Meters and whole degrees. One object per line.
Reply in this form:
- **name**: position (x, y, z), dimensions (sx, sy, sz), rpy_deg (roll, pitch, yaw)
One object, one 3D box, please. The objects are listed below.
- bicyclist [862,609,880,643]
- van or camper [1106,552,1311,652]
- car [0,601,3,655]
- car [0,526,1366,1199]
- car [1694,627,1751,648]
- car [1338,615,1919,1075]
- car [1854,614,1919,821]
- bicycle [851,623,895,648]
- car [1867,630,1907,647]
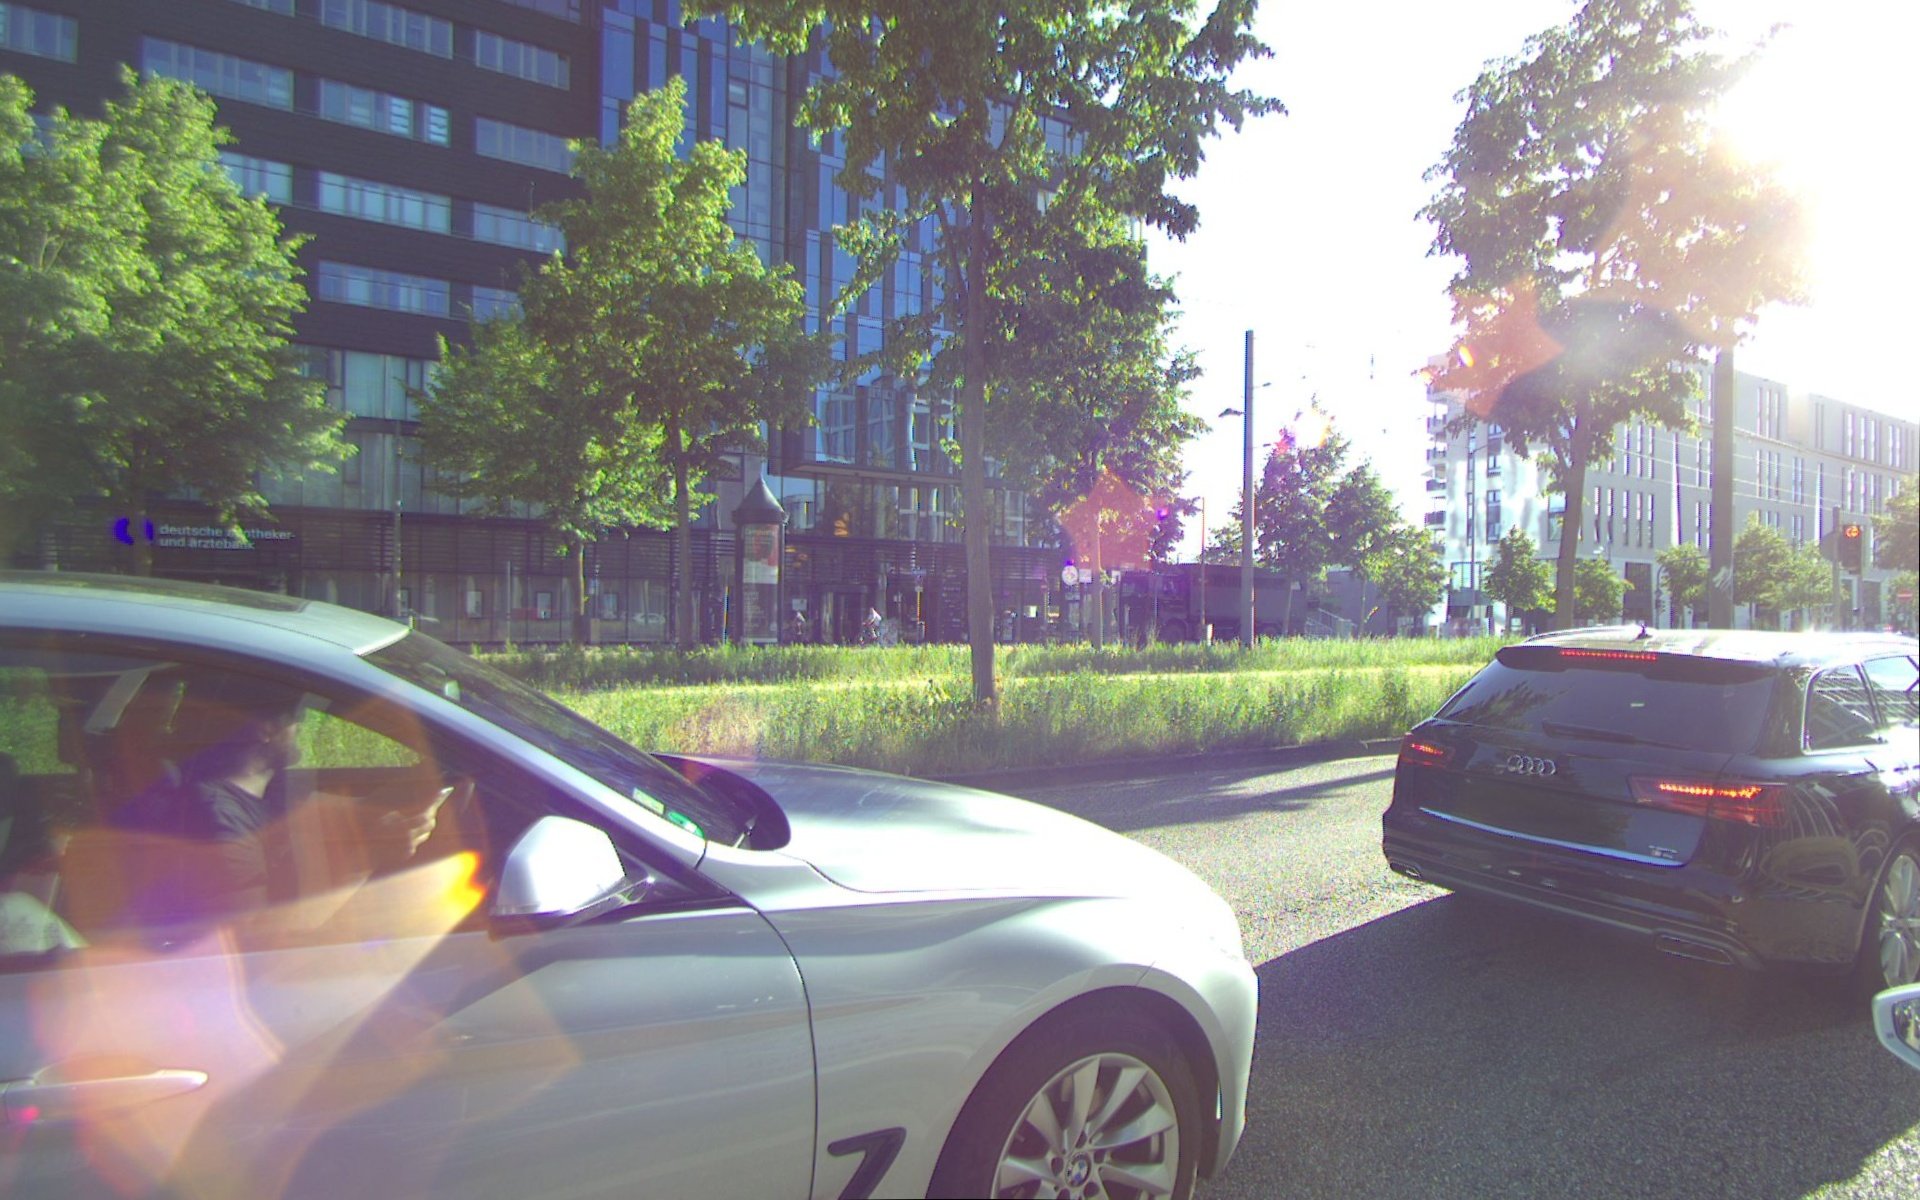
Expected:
- **bicyclist**: position (-3.839, 1.115, 43.408), dimensions (0.619, 1.425, 0.490), rpy_deg (2, 0, -30)
- **van or camper**: position (11.637, 0.192, 46.417), dimensions (10.109, 4.248, 2.740), rpy_deg (2, -1, -30)
- **car**: position (-28.293, 0.741, 26.570), dimensions (3.949, 1.525, 1.746), rpy_deg (1, -1, -28)
- **car**: position (-1.501, 0.675, 1.917), dimensions (4.689, 1.508, 1.799), rpy_deg (1, -1, -31)
- **car**: position (52.574, 2.603, 69.248), dimensions (4.420, 1.360, 1.572), rpy_deg (2, -1, -31)
- **car**: position (4.183, 0.849, 5.188), dimensions (4.455, 1.476, 1.799), rpy_deg (1, -1, -31)
- **car**: position (9.215, 0.919, 8.122), dimensions (4.064, 1.548, 1.799), rpy_deg (1, -1, -30)
- **bicycle**: position (-3.760, 1.527, 43.477), dimensions (1.826, 1.047, 0.525), rpy_deg (2, 0, -31)
- **car**: position (79.123, 3.304, 85.746), dimensions (3.669, 1.360, 1.572), rpy_deg (2, -1, -31)
